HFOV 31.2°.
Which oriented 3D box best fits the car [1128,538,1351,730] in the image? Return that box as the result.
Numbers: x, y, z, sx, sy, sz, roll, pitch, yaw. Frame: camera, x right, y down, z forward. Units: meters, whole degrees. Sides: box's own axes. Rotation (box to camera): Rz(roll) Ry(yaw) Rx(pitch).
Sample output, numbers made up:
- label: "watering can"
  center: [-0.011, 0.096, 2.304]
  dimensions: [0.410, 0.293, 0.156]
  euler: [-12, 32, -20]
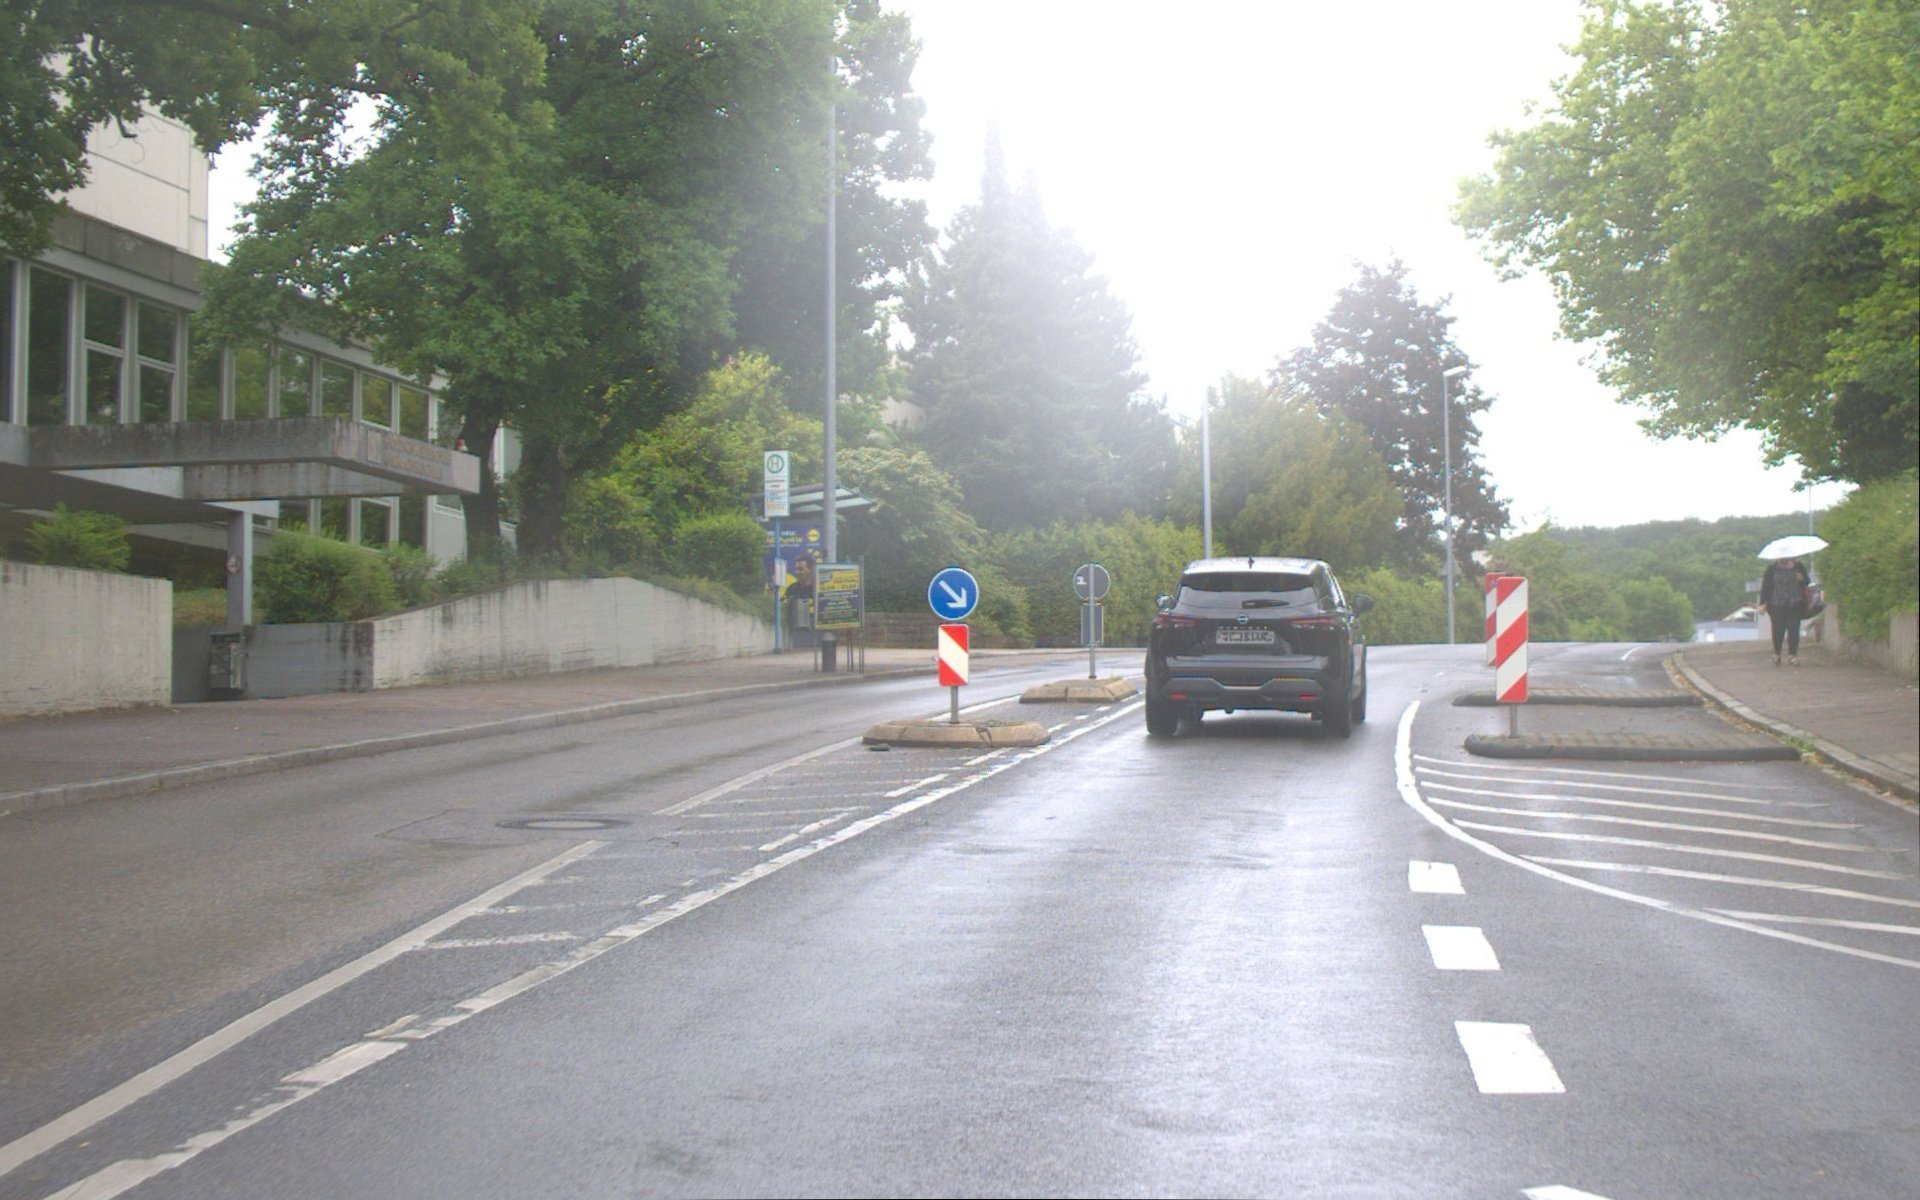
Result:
- label: "car"
  center: [2.658, 0.259, 31.891]
  dimensions: [1.790, 1.598, 4.252]
  euler: [-1, 1, 8]

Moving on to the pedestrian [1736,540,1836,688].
- label: "pedestrian"
  center: [10.673, 0.192, 44.465]
  dimensions: [1.051, 1.887, 1.133]
  euler: [0, -2, 3]
